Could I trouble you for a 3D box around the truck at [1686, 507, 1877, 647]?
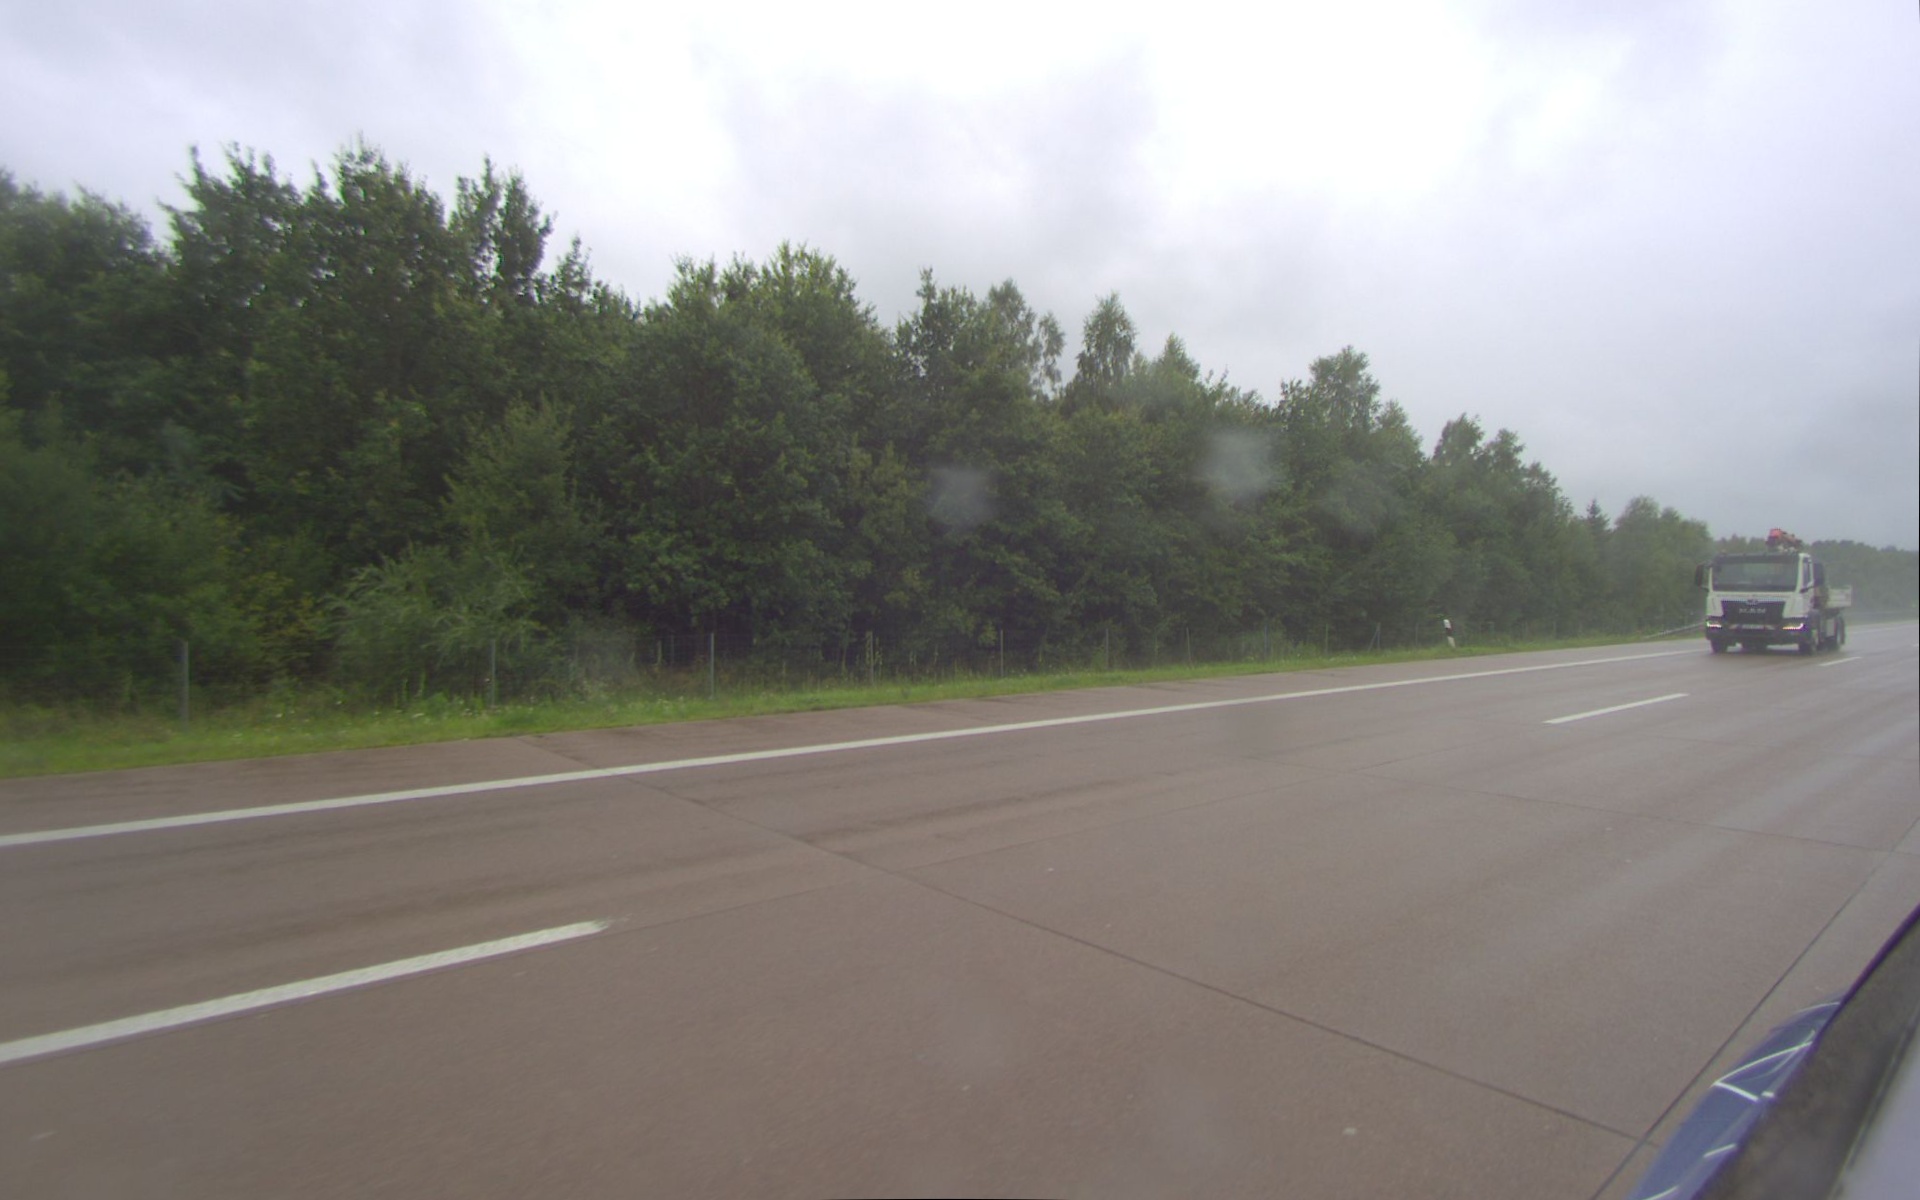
[{"bbox_3d":[25.332,-0.635,31.045,7.815,3.777,3.240,0,0,-41],"label":"truck"}]
